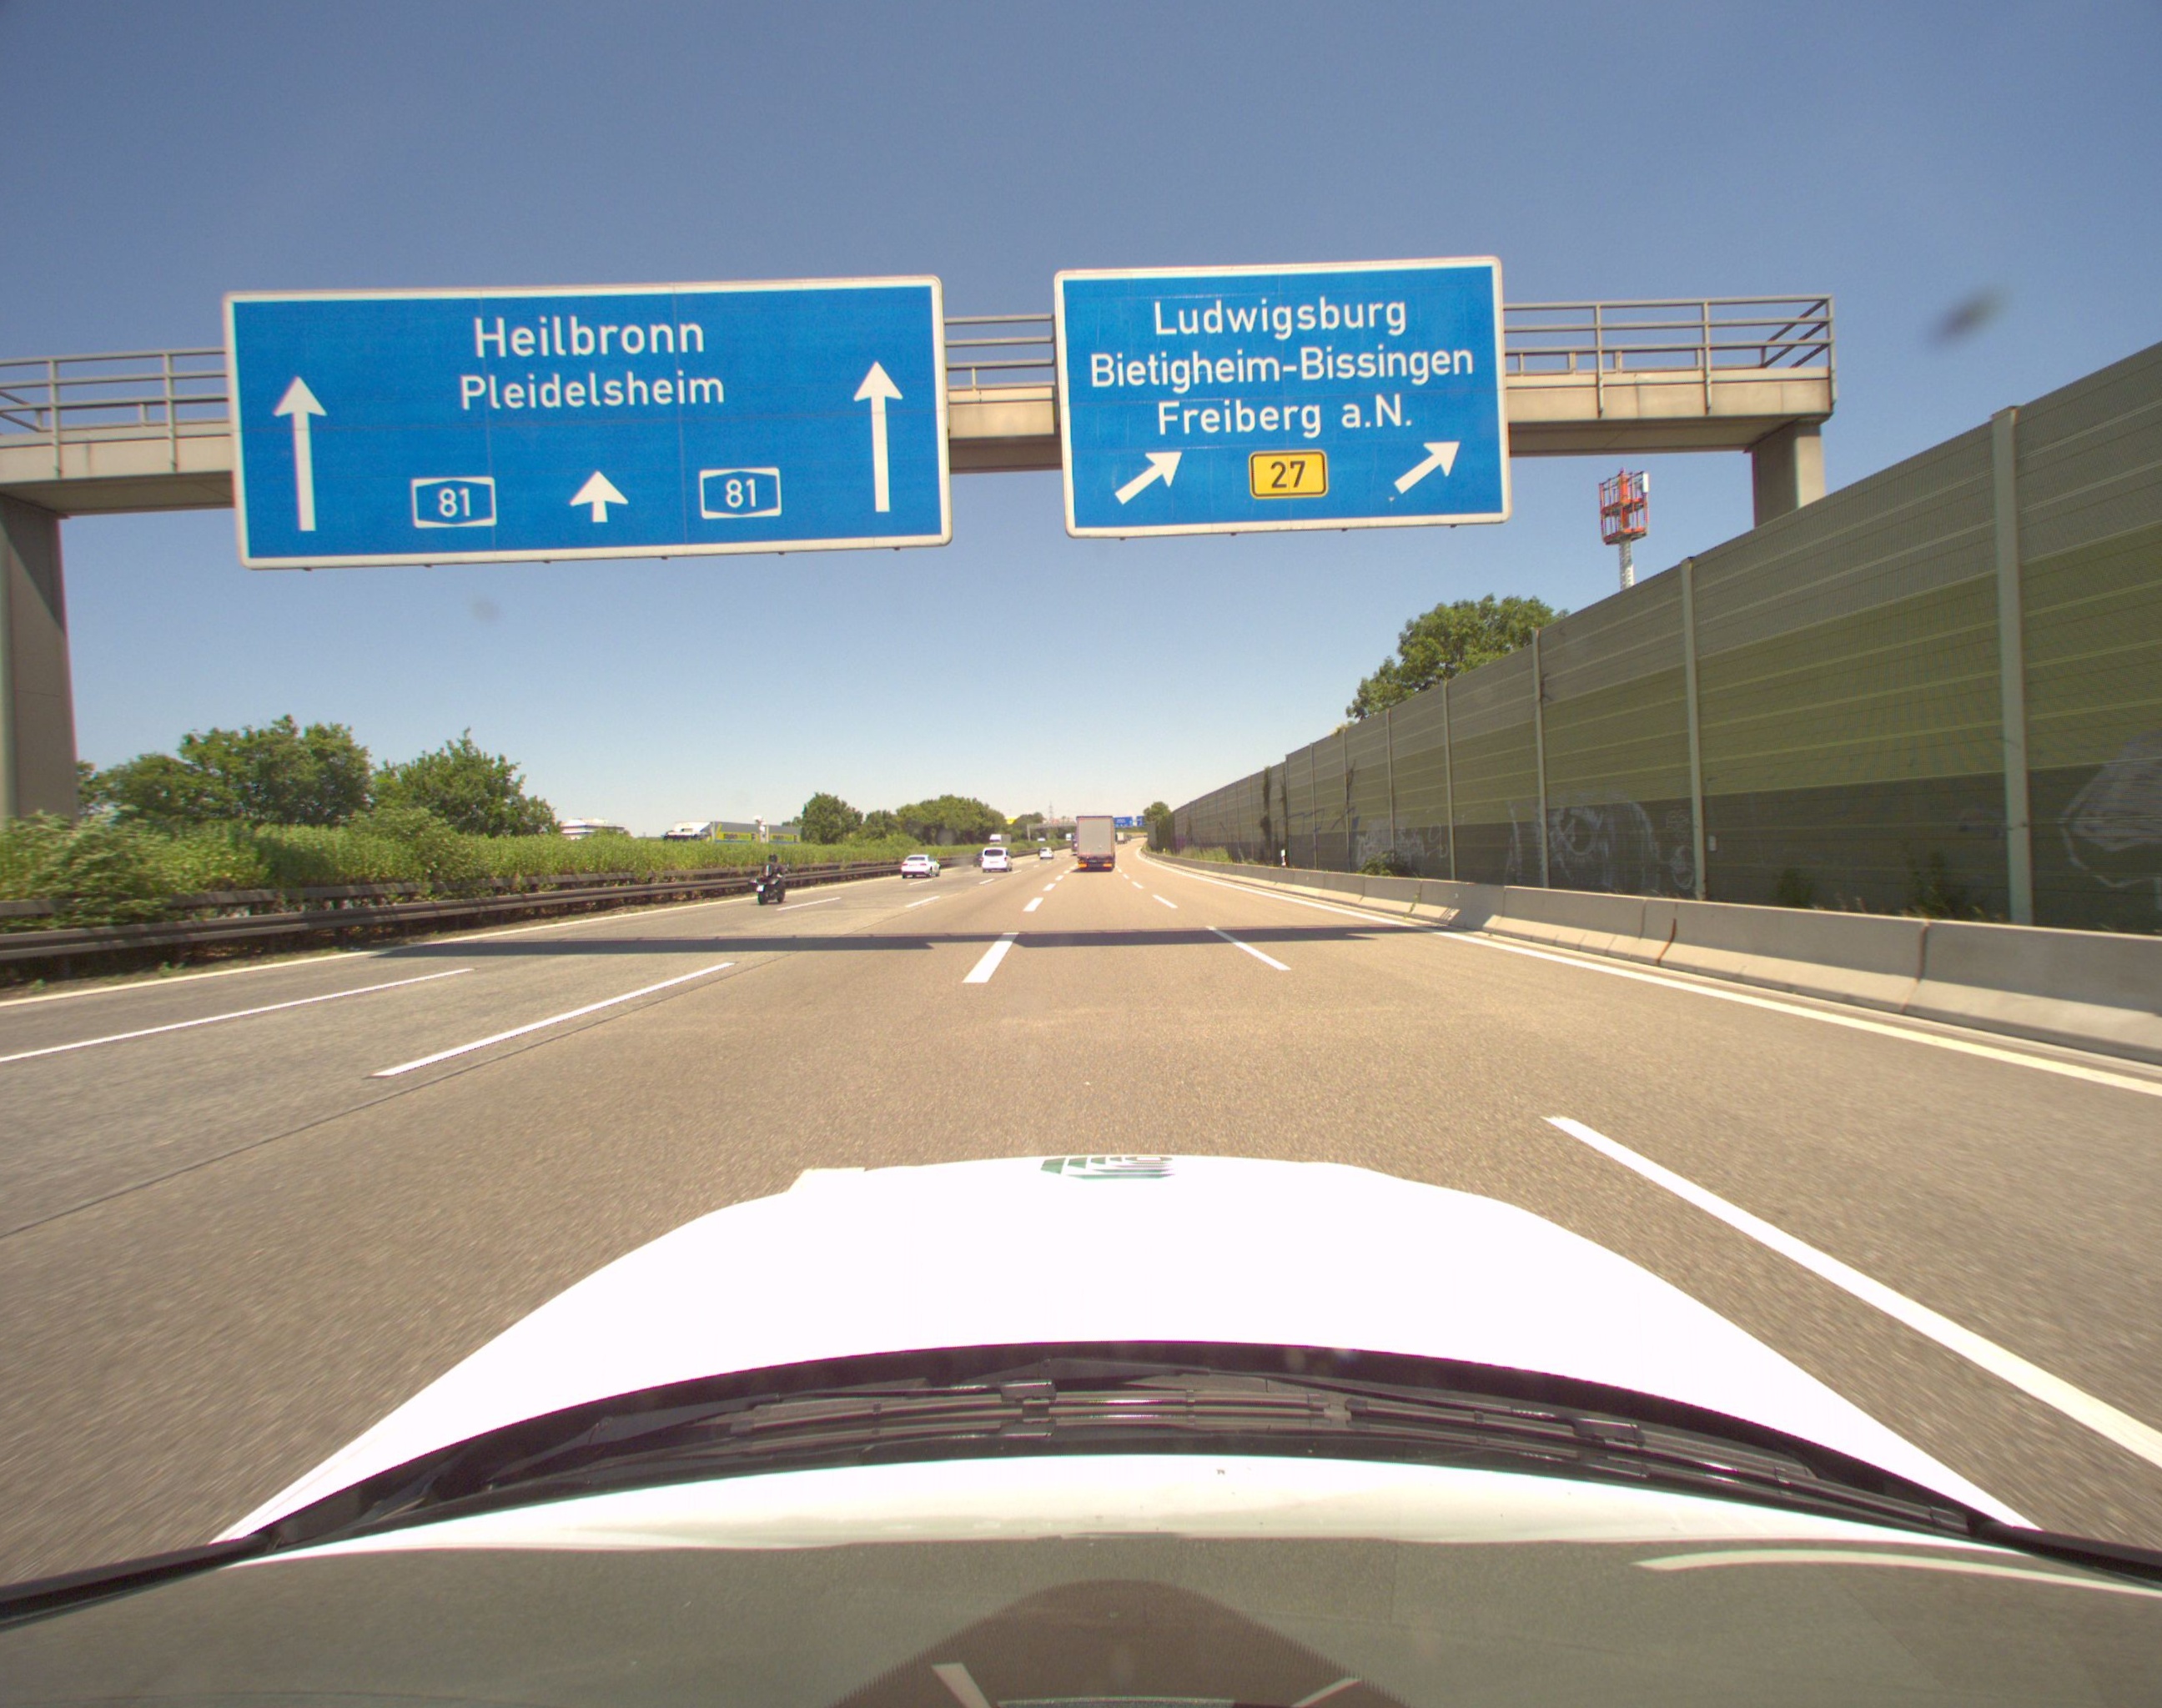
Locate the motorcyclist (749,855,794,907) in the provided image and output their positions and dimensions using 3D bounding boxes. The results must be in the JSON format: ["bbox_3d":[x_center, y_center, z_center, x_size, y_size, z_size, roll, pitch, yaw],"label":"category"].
[{"bbox_3d":[-10.007,0.857,26.400,0.890,1.597,1.300,-1,0,2],"label":"motorcyclist"}]

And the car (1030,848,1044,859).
[{"bbox_3d":[-7.686,-0.126,142.615,1.896,1.689,4.636,-2,1,4],"label":"car"}]

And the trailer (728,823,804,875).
[{"bbox_3d":[-25.577,-0.385,66.660,2.914,3.967,8.655,-1,0,-1],"label":"trailer"}]

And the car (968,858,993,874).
[{"bbox_3d":[-9.840,1.192,80.233,1.751,1.408,5.039,-2,-1,0],"label":"car"}]

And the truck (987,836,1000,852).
[{"bbox_3d":[-22.076,-2.425,205.661,2.528,3.947,5.170,-1,0,3],"label":"truck"}]

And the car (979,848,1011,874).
[{"bbox_3d":[-6.523,0.557,62.267,1.924,1.852,4.691,-2,-1,0],"label":"car"}]

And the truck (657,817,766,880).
[{"bbox_3d":[-25.548,-0.388,57.108,2.992,3.967,10.318,-1,0,-1],"label":"truck"}]

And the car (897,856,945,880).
[{"bbox_3d":[-10.186,0.859,52.208,1.869,1.440,5.127,-1,0,1],"label":"car"}]

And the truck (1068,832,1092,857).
[{"bbox_3d":[-0.004,-1.773,144.683,3.733,4.269,14.503,-1,1,2],"label":"truck"}]

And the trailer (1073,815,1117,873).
[{"bbox_3d":[1.003,-0.720,63.219,2.918,4.015,12.037,-2,0,0],"label":"trailer"}]

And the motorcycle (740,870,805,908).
[{"bbox_3d":[-9.987,1.109,26.504,0.909,1.089,2.851,-1,0,2],"label":"motorcycle"}]

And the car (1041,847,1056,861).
[{"bbox_3d":[-4.662,-0.056,117.267,1.898,1.851,4.631,-2,1,0],"label":"car"}]
